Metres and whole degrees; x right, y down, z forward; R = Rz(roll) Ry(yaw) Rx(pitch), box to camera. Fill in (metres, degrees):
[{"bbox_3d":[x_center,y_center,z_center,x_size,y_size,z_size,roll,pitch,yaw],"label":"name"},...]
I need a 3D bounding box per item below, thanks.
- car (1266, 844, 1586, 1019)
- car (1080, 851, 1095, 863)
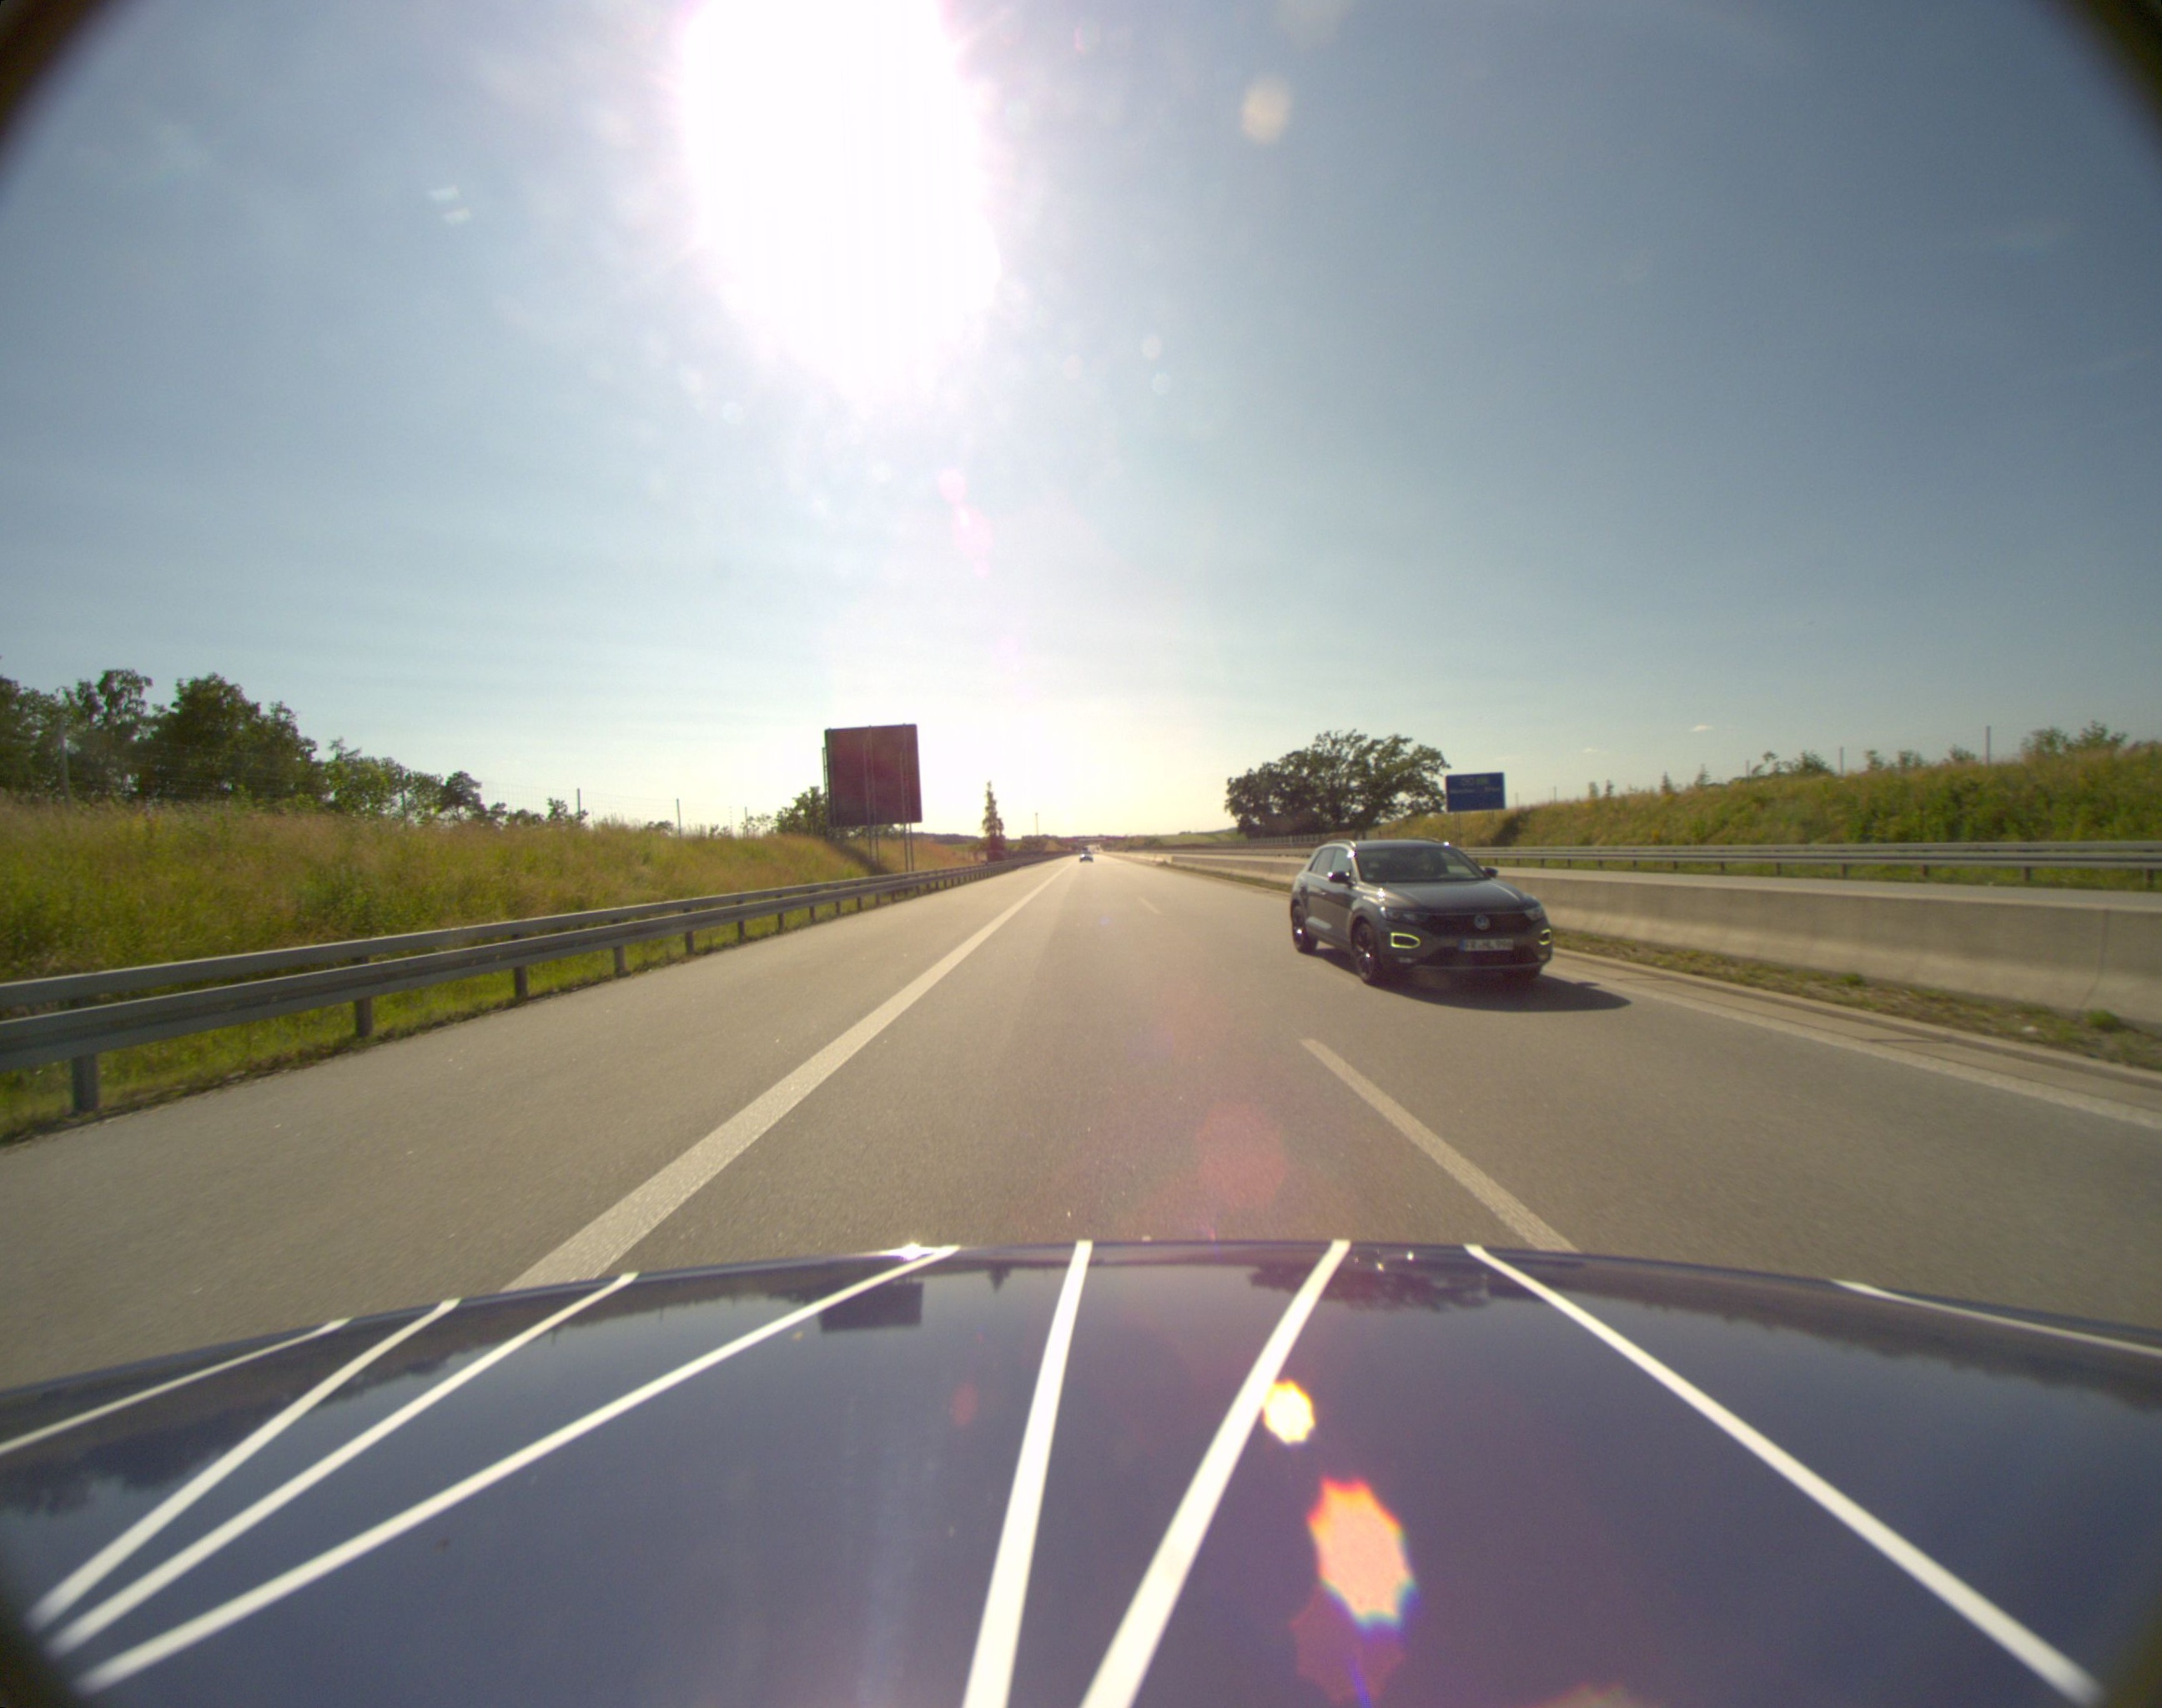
[{"bbox_3d":[3.796,0.691,9.503,1.776,1.560,4.988,-2,1,1],"label":"car"},{"bbox_3d":[0.890,0.402,105.405,1.909,1.449,4.375,-2,1,2],"label":"car"}]
